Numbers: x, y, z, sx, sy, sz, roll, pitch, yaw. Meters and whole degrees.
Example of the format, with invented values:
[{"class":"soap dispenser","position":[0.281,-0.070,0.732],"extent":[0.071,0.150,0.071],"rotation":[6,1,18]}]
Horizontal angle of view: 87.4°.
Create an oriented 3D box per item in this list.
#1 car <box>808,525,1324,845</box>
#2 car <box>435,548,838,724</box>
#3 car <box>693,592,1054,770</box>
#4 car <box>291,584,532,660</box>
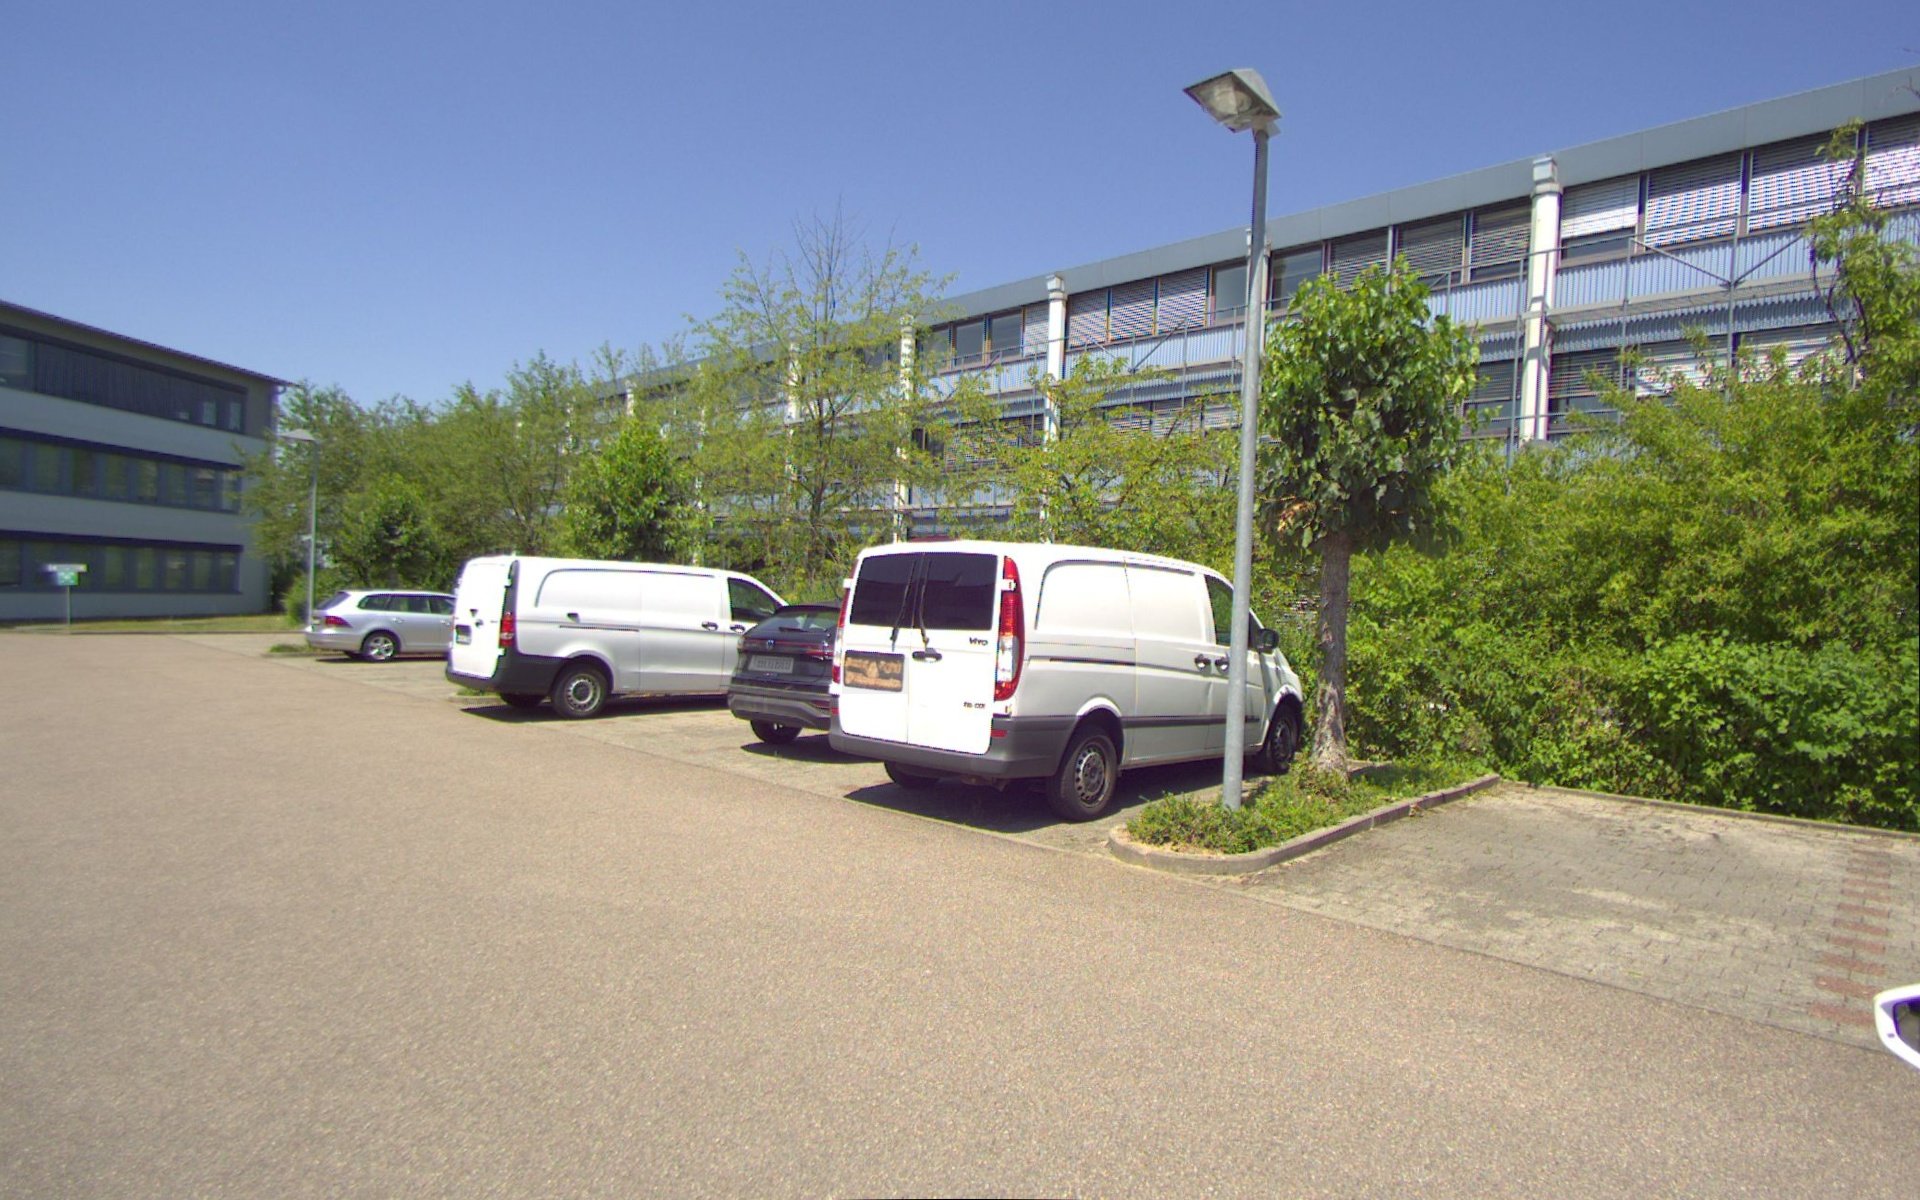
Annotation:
[{"class":"car","position":[1.191,0.555,8.489],"extent":[1.891,1.930,4.783],"rotation":[1,0,42]},{"class":"car","position":[-4.091,0.430,13.356],"extent":[1.862,1.916,4.774],"rotation":[2,0,44]},{"class":"car","position":[-0.710,0.723,10.745],"extent":[1.730,1.496,3.989],"rotation":[1,0,34]},{"class":"car","position":[-11.592,0.475,21.395],"extent":[4.143,1.425,1.848],"rotation":[2,0,-44]}]
